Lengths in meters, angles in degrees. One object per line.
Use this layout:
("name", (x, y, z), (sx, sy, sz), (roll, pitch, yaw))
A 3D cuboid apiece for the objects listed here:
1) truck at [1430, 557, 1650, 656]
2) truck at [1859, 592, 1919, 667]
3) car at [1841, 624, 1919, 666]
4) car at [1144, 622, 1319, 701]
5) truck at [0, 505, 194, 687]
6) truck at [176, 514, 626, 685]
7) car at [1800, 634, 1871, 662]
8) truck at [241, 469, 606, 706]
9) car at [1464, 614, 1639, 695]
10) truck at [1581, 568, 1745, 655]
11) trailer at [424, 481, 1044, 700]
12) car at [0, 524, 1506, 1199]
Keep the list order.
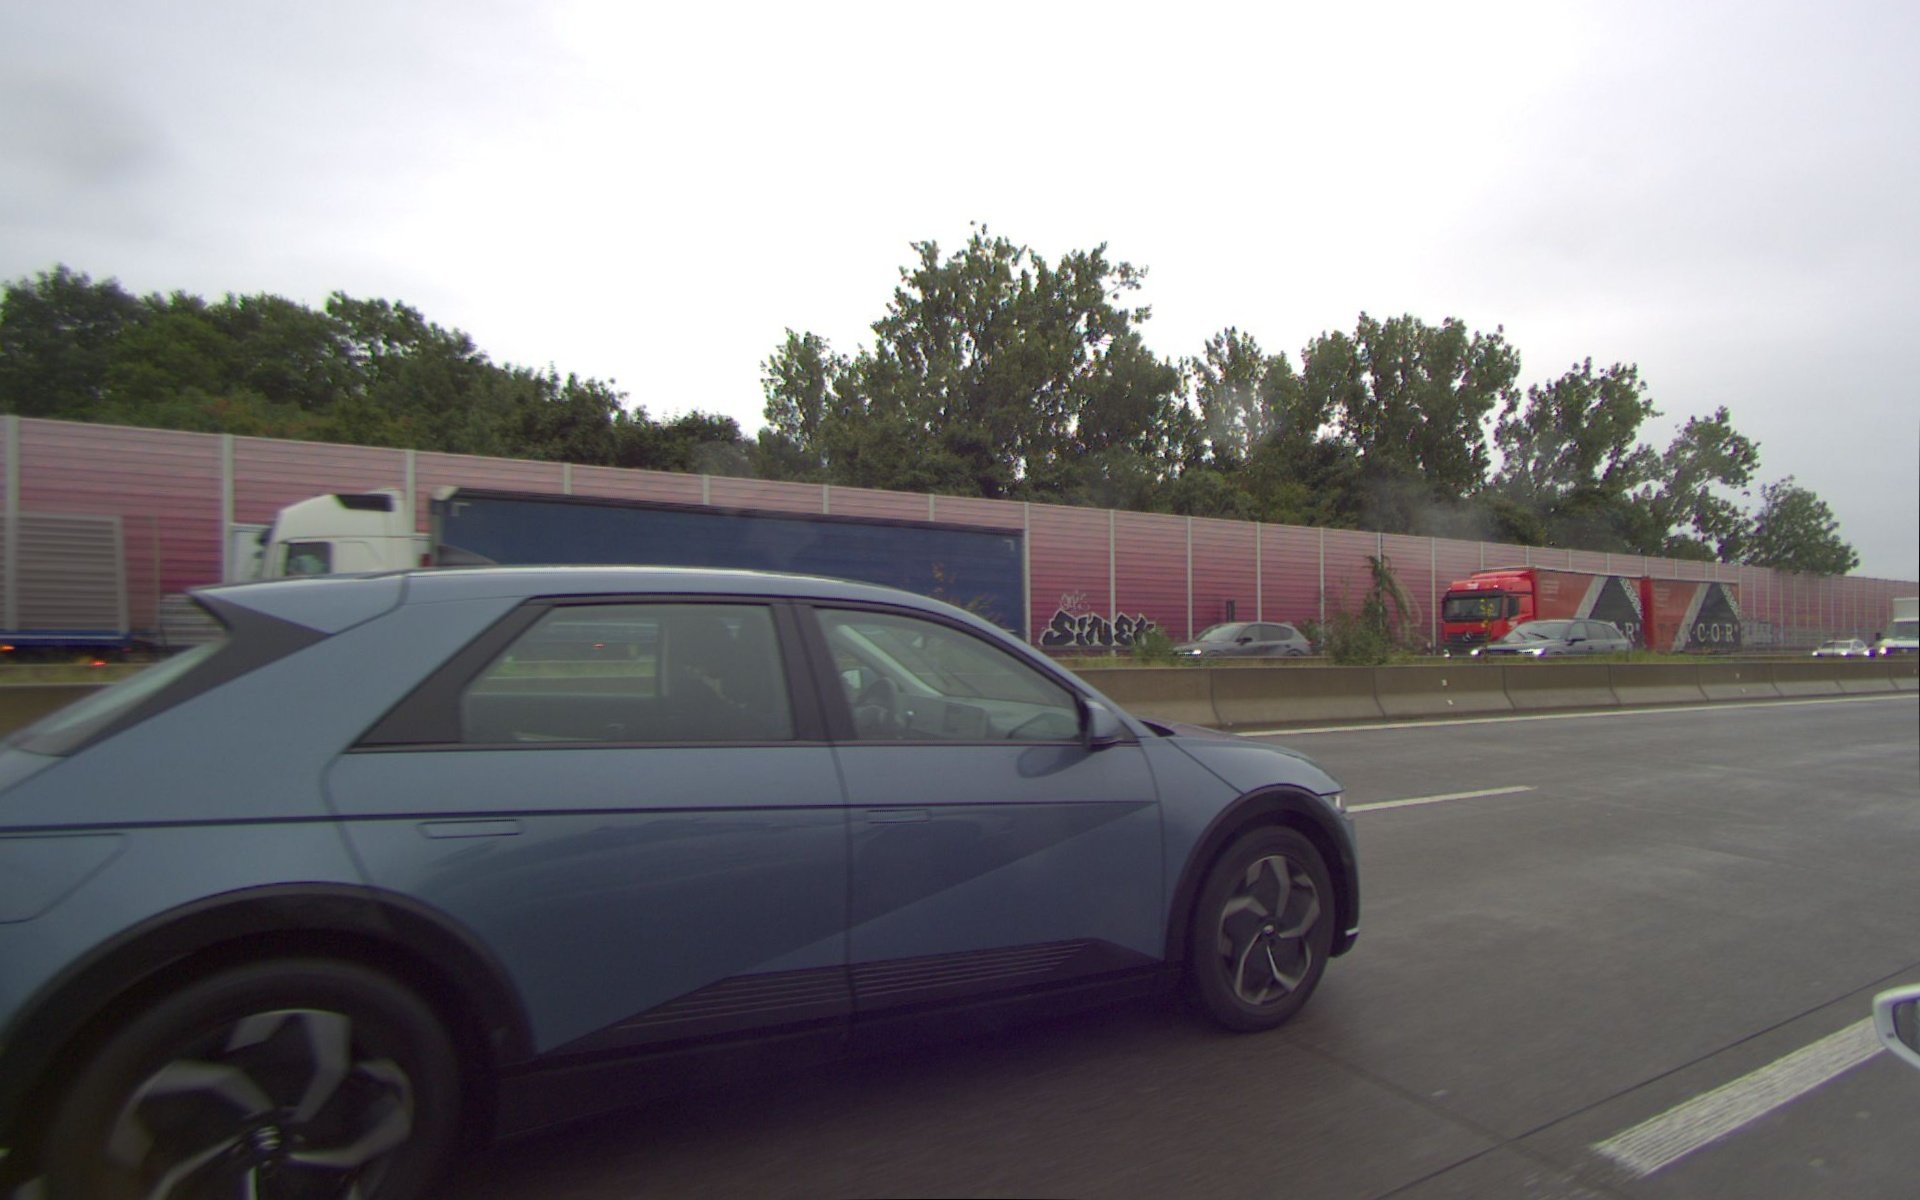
("truck", (23.048, 0.359, 39.637), (10.494, 3.537, 2.767), (1, -1, -31))
("truck", (39.550, 1.203, 40.931), (7.195, 2.866, 2.255), (1, 0, -31))
("car", (43.892, 2.113, 47.738), (4.342, 1.884, 1.982), (1, -1, -33))
("car", (7.123, 1.560, 26.275), (4.338, 1.884, 1.984), (1, -1, -31))
("truck", (-20.813, -0.150, 18.510), (10.311, 3.395, 2.699), (1, 0, -31))
("truck", (-12.548, 0.059, 23.393), (8.599, 3.395, 2.957), (1, 0, -31))
("car", (54.106, 2.948, 62.071), (4.485, 1.669, 1.984), (1, -3, -30))
("truck", (-10.529, -0.174, 20.149), (5.981, 4.081, 3.031), (1, 0, -31))
("car", (15.004, 1.331, 25.446), (4.338, 1.884, 1.984), (1, -1, -31))
("truck", (31.210, 0.565, 44.496), (8.395, 3.537, 2.767), (1, -1, -31))
("trailer", (-4.637, -0.051, 23.655), (13.961, 4.081, 3.031), (1, 0, -31))
("car", (-0.378, 0.726, 3.675), (5.096, 1.615, 1.829), (2, -1, -31))
